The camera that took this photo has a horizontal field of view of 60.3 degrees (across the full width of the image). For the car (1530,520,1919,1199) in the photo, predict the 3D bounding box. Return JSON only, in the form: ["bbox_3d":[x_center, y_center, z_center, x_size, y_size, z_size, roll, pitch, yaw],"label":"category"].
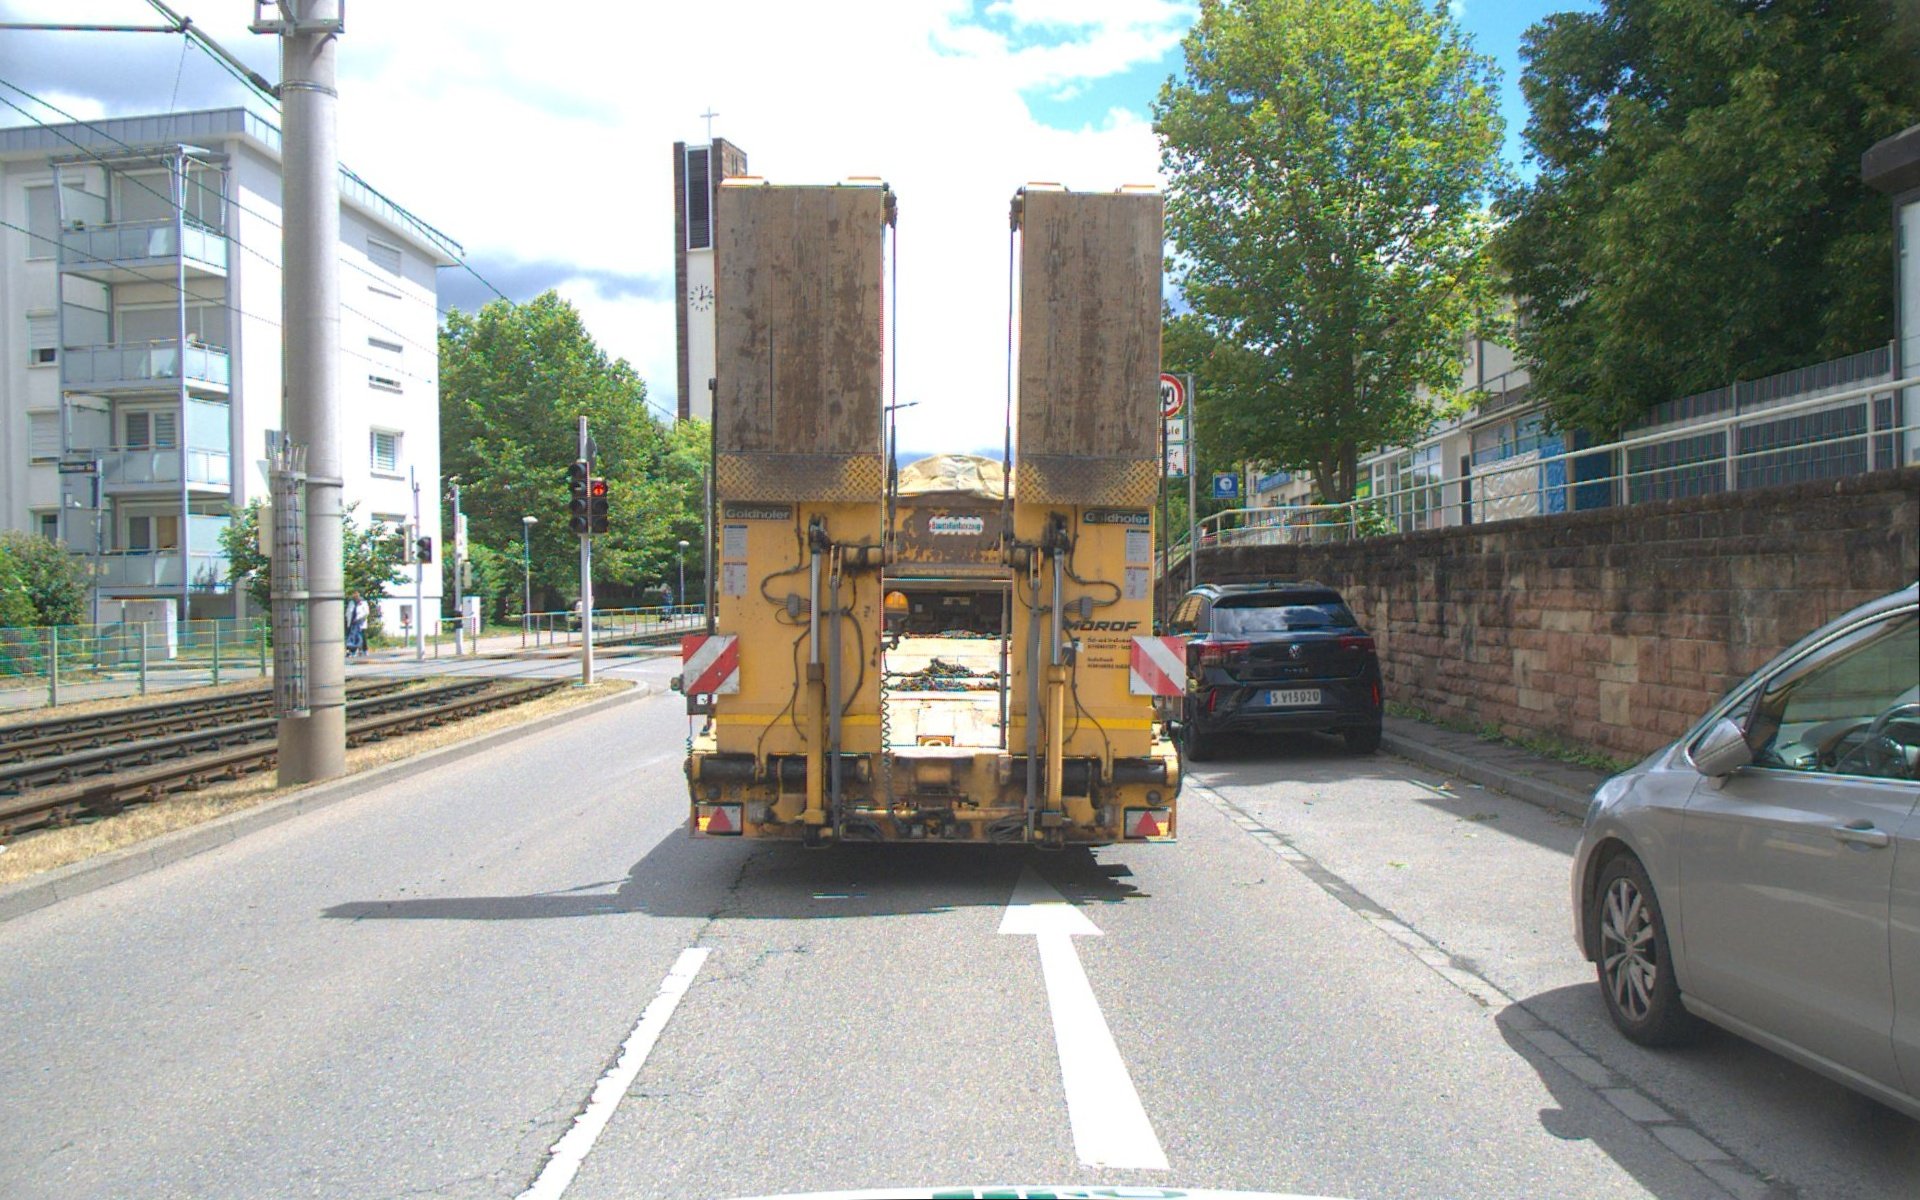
[{"bbox_3d":[3.140,0.605,4.232,1.754,1.646,4.247,-2,0,-2],"label":"car"}]

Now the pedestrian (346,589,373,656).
[{"bbox_3d":[-14.656,0.542,40.371,0.428,1.608,0.475,-1,1,4],"label":"pedestrian"}]

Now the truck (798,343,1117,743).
[{"bbox_3d":[-0.025,-0.541,17.667,2.882,3.635,4.876,-1,0,0],"label":"truck"}]

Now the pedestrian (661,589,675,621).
[{"bbox_3d":[-14.275,0.228,80.730,0.552,1.540,0.645,1,0,-2],"label":"pedestrian"}]

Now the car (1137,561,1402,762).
[{"bbox_3d":[2.885,0.519,16.254,1.813,1.668,4.000,-2,0,0],"label":"car"}]

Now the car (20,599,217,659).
[{"bbox_3d":[-20.621,0.700,40.617,3.902,1.369,1.903,-1,0,7],"label":"car"}]

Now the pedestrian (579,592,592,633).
[{"bbox_3d":[-14.546,0.474,64.241,0.341,1.564,0.557,-1,0,3],"label":"pedestrian"}]

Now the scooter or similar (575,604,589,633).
[{"bbox_3d":[-14.533,0.705,63.594,0.331,1.076,0.688,-1,0,4],"label":"scooter or similar"}]

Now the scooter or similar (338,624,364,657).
[{"bbox_3d":[-14.681,0.977,39.875,0.428,0.760,0.475,-1,0,4],"label":"scooter or similar"}]

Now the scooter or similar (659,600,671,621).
[{"bbox_3d":[-14.286,0.499,80.078,0.495,0.988,0.645,1,0,-2],"label":"scooter or similar"}]

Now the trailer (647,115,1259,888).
[{"bbox_3d":[-0.023,-0.502,12.267,2.885,3.664,8.683,-1,0,0],"label":"trailer"}]
